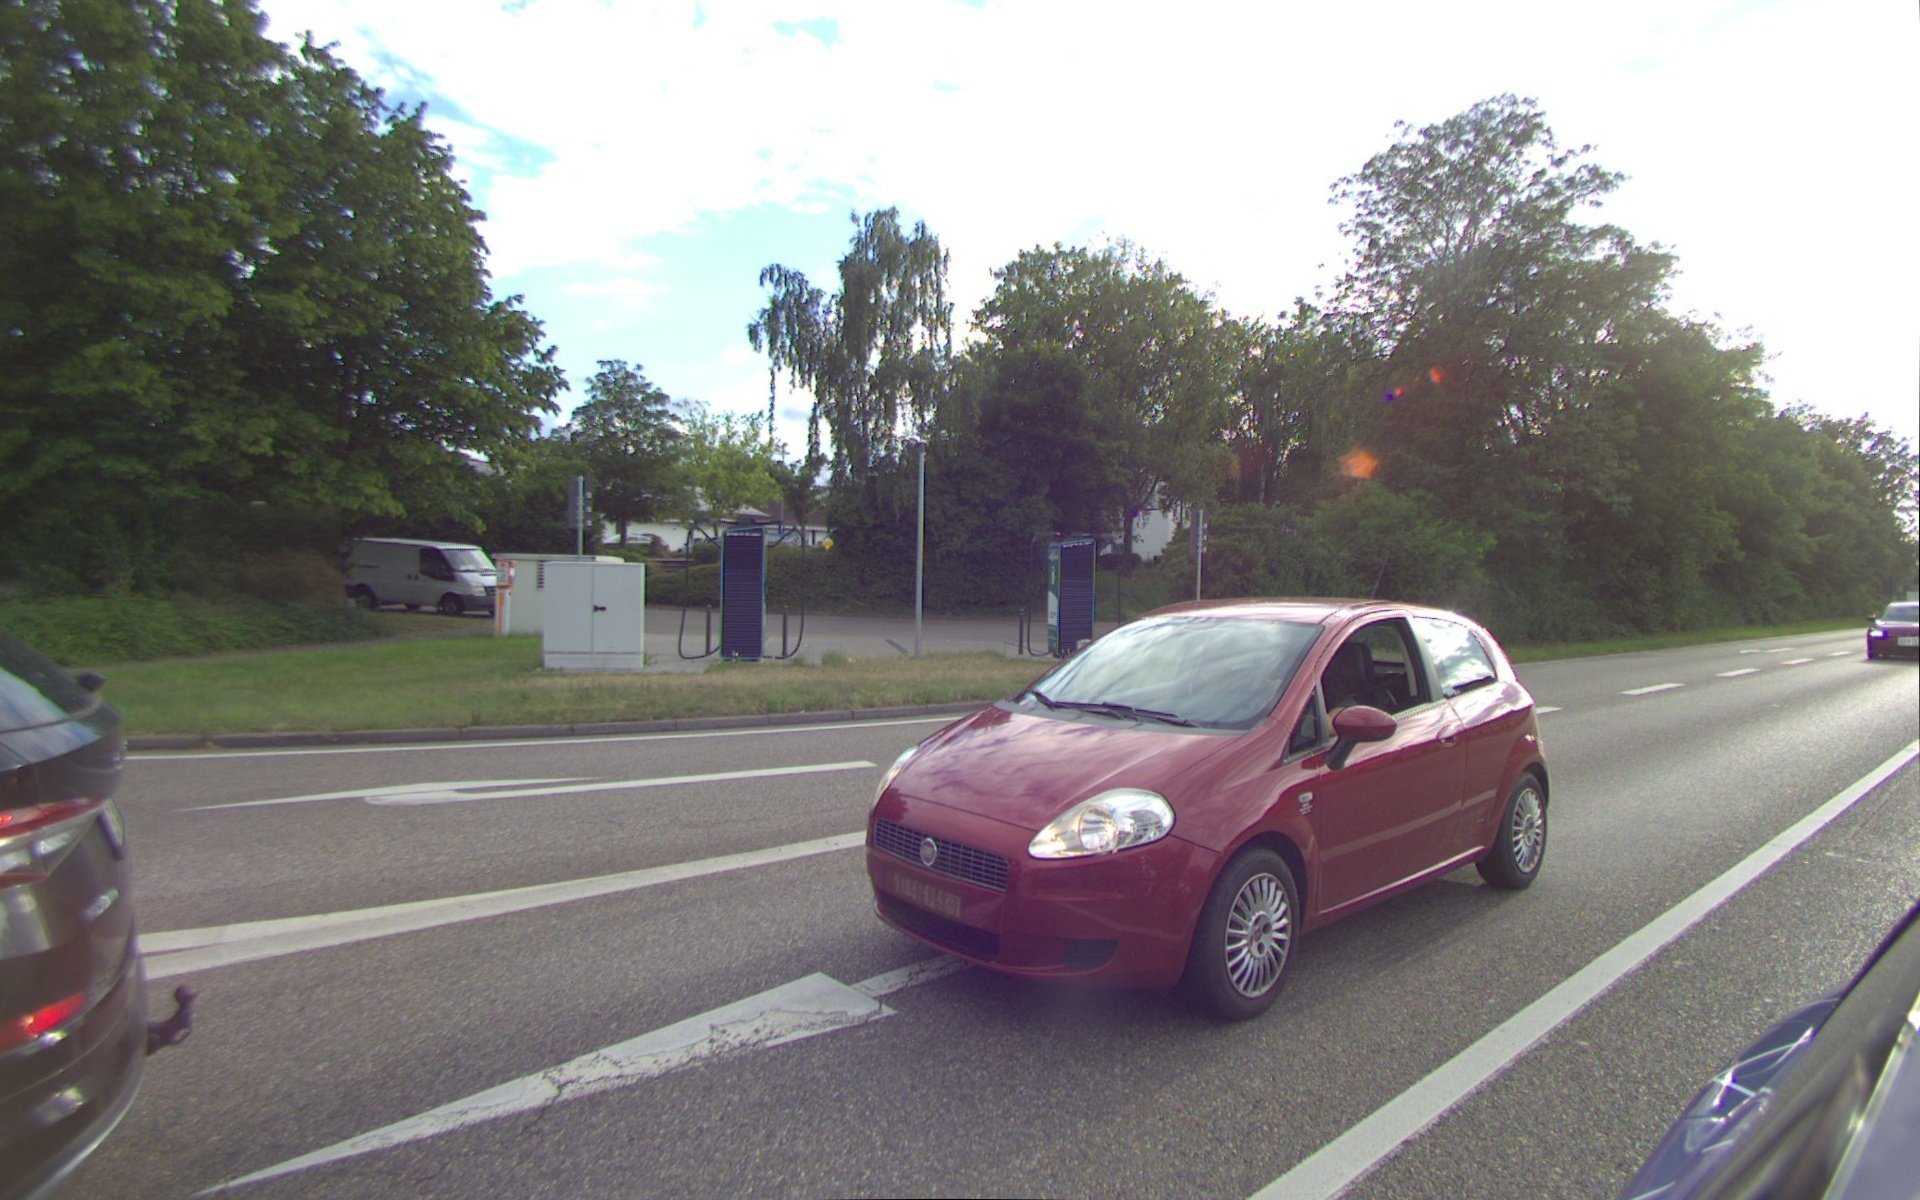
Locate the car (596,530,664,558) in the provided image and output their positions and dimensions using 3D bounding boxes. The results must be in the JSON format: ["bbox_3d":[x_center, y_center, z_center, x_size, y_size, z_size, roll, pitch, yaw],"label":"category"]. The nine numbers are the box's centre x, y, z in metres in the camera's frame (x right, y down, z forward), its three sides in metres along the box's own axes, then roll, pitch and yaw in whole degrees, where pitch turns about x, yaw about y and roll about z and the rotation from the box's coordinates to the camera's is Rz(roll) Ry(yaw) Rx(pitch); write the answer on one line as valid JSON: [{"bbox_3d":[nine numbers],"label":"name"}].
[{"bbox_3d":[-21.008,-3.539,64.456,3.965,1.582,1.979,0,0,30],"label":"car"}]

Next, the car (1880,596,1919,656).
[{"bbox_3d":[24.757,0.622,25.667,3.931,1.433,1.699,0,1,-42],"label":"car"}]

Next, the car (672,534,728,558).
[{"bbox_3d":[-17.493,-3.600,68.006,1.968,1.382,3.989,-1,1,-45],"label":"car"}]

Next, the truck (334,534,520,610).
[{"bbox_3d":[-14.885,-0.781,28.301,4.602,2.022,1.816,1,0,14],"label":"truck"}]

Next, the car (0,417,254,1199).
[{"bbox_3d":[-3.496,0.552,1.022,4.403,1.671,1.847,0,0,-42],"label":"car"}]

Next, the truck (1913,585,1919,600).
[{"bbox_3d":[176.646,-1.355,182.349,2.940,2.717,7.151,-1,1,-43],"label":"truck"}]

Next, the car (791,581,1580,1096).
[{"bbox_3d":[1.326,0.656,4.785,3.925,1.450,1.665,0,1,-42],"label":"car"}]
